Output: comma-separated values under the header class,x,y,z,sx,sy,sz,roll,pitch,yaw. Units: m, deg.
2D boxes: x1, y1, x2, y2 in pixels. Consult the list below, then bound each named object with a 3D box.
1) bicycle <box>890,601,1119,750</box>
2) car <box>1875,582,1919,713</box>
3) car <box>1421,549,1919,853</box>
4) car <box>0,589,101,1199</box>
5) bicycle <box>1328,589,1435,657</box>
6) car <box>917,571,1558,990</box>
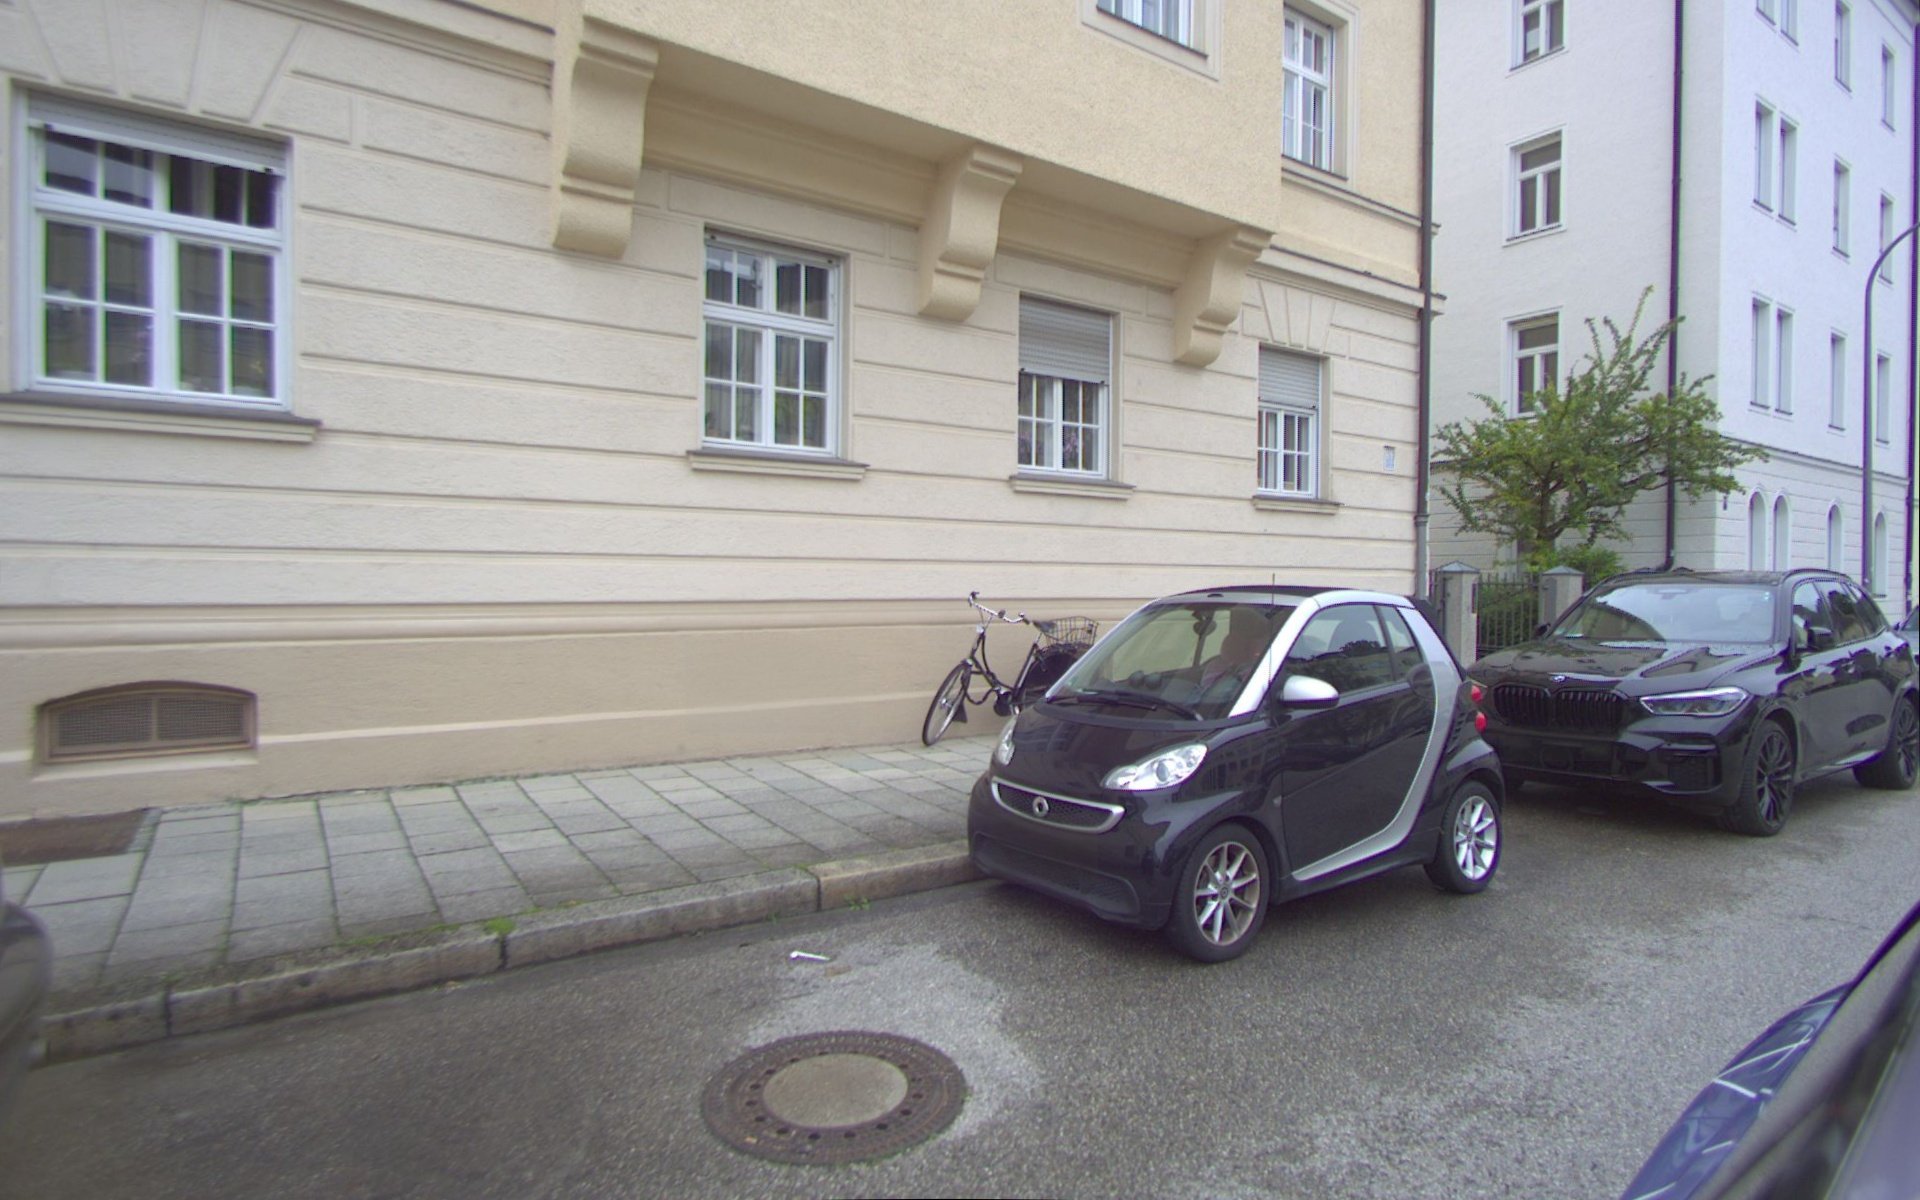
class,x,y,z,sx,sy,sz,roll,pitch,yaw
bicycle,0.405,0.579,8.463,1.915,1.096,0.581,0,3,-34
car,14.159,0.587,13.676,4.372,1.654,1.728,-1,1,-35
car,5.856,0.558,7.912,4.772,1.739,1.875,-1,0,-34
car,-3.679,0.728,1.278,3.755,1.466,1.714,-1,0,-33
bicycle,7.764,0.392,18.727,0.569,1.108,1.882,0,3,-28
car,1.486,0.656,5.215,3.050,1.543,1.540,-1,0,-33
